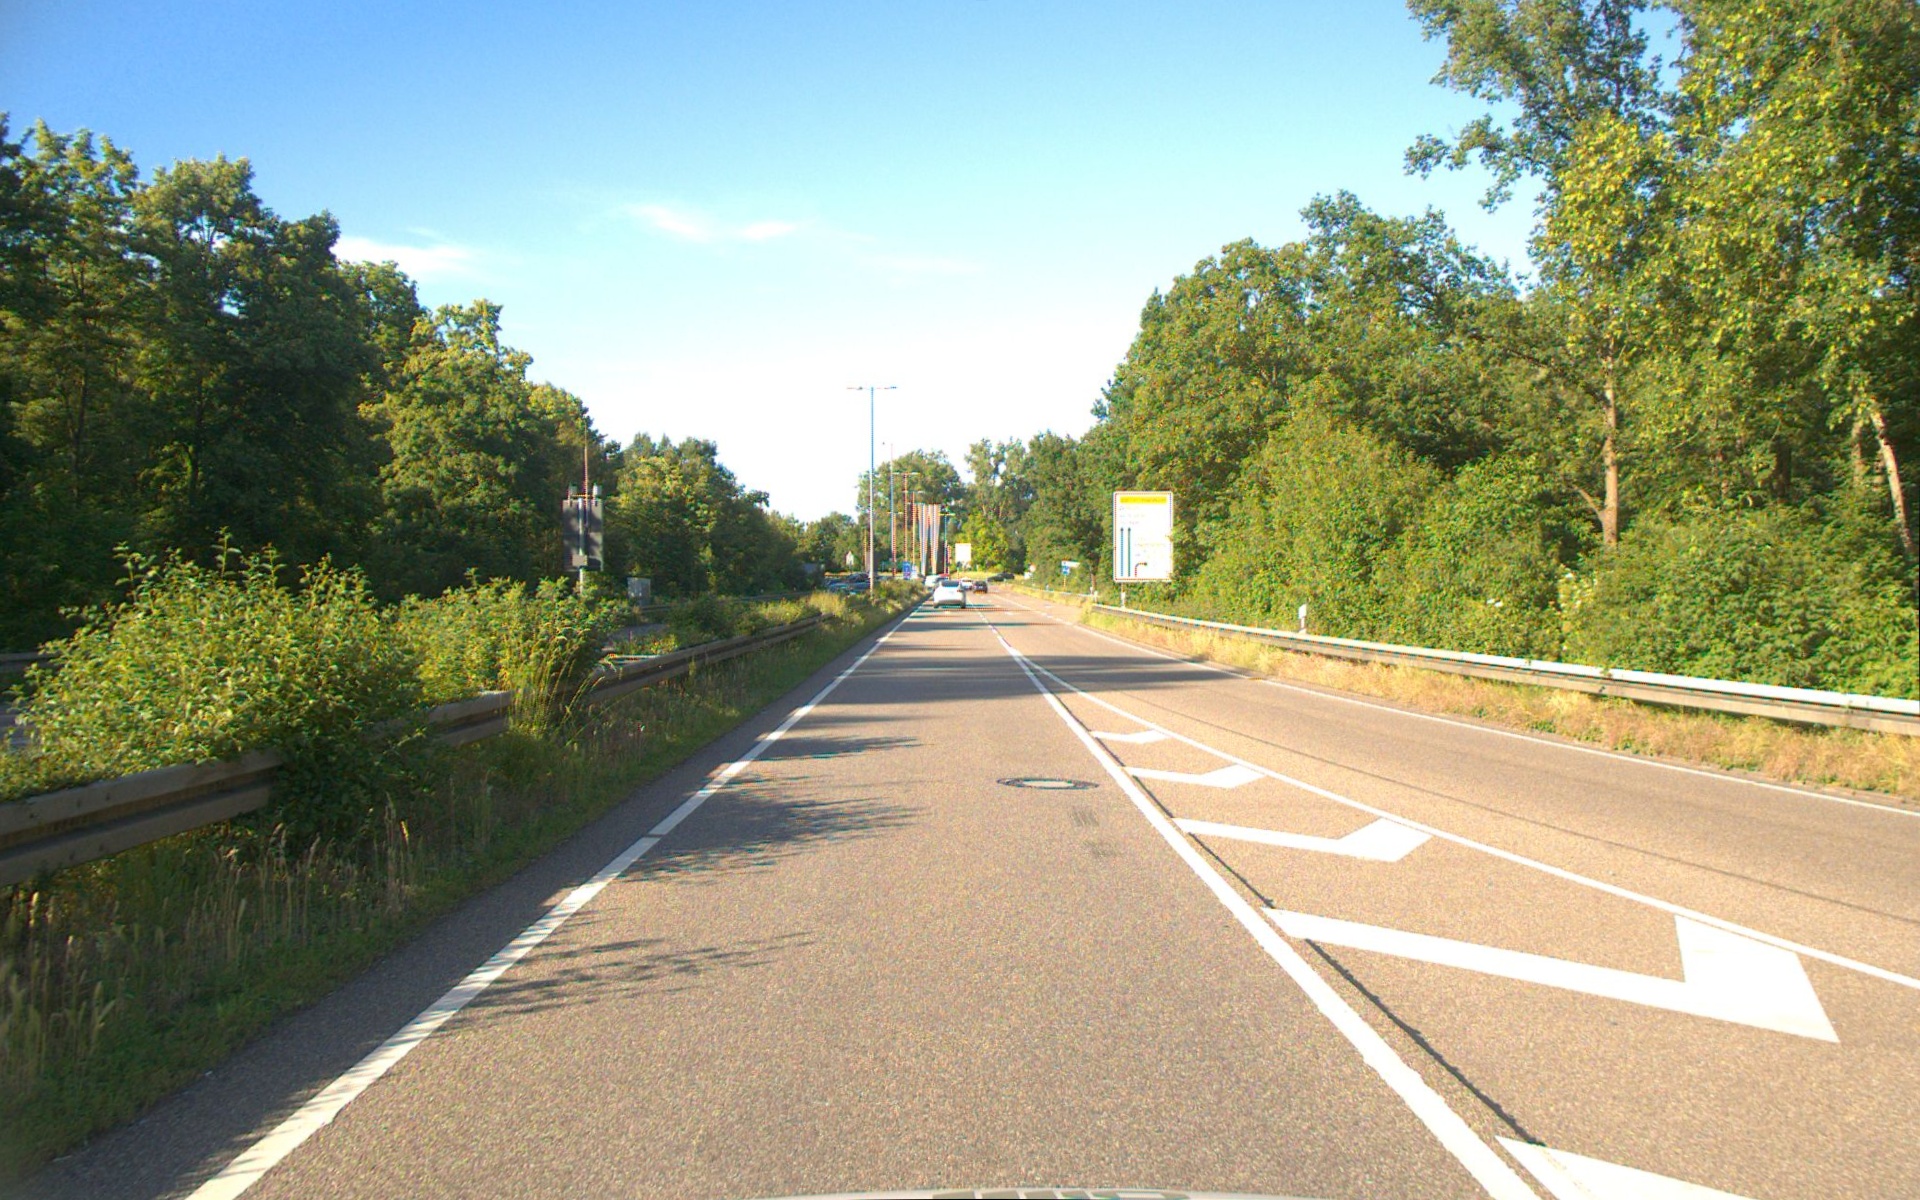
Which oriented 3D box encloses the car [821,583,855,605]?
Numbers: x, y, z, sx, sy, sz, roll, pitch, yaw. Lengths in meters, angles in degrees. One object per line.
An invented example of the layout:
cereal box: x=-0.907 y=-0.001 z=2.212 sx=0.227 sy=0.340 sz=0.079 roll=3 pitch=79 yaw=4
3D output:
car: x=-7.961 y=-0.407 z=108.253 sx=1.744 sy=1.427 sz=4.553 roll=-1 pitch=1 yaw=1

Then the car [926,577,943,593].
car: x=-3.464 y=-2.041 z=220.798 sx=1.954 sy=2.049 sz=3.996 roll=2 pitch=0 yaw=-5

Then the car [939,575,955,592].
car: x=-1.631 y=-2.060 z=203.025 sx=1.953 sy=1.912 sz=4.249 roll=-1 pitch=1 yaw=-1

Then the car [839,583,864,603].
car: x=-8.767 y=-0.592 z=134.326 sx=1.585 sy=1.557 sz=4.609 roll=-1 pitch=1 yaw=1

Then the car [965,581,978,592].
car: x=1.442 y=-1.741 z=211.965 sx=1.591 sy=1.303 sz=2.987 roll=2 pitch=0 yaw=-1

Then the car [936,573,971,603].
car: x=-0.394 y=-0.743 z=97.910 sx=1.953 sy=1.668 sz=4.128 roll=-1 pitch=1 yaw=-1

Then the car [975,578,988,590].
car: x=2.467 y=-1.822 z=193.010 sx=1.360 sy=1.303 sz=2.987 roll=2 pitch=0 yaw=-1
